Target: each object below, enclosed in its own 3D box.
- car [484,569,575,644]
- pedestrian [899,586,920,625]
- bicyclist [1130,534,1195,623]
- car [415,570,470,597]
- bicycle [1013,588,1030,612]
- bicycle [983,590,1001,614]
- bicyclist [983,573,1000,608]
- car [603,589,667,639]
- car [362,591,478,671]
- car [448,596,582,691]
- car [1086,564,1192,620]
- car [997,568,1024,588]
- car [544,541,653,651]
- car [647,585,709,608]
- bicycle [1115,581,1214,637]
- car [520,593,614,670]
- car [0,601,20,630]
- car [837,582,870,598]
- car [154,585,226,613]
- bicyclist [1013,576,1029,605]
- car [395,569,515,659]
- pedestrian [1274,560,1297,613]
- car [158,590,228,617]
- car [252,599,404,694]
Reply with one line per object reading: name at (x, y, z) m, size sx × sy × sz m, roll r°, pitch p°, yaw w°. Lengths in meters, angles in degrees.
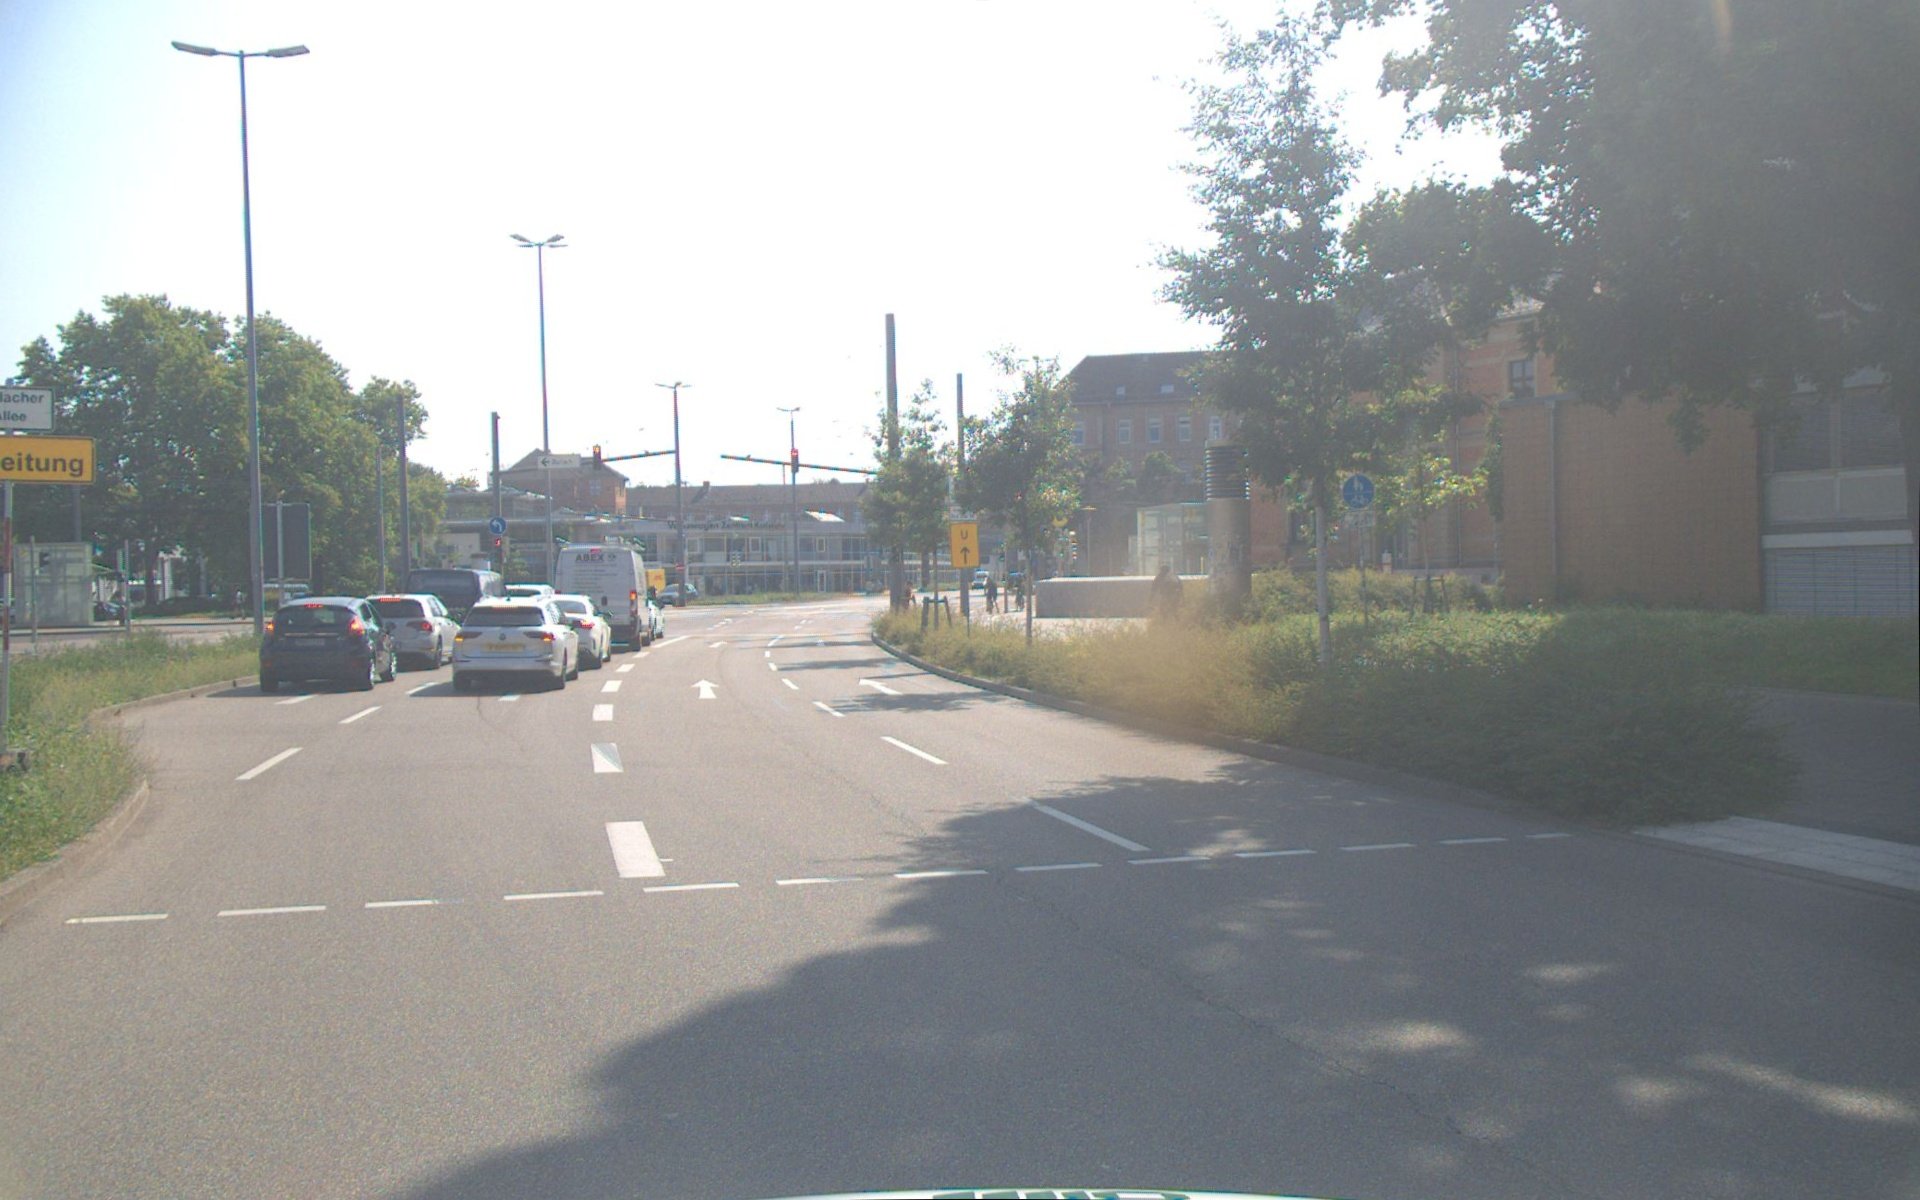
car at (-12.555, 0.171, 48.470) m, size 1.985 × 2.043 × 4.676 m, roll -1°, pitch 0°, yaw -7°
pedestrian at (-1.818, 0.181, 59.597) m, size 0.625 × 1.385 × 0.632 m, roll -1°, pitch 0°, yaw -12°
bicyclist at (3.763, -0.402, 30.778) m, size 0.763 × 1.606 × 0.982 m, roll -2°, pitch 1°, yaw -27°
car at (-41.733, -1.321, 133.442) m, size 3.916 × 2.048 × 1.995 m, roll -1°, pitch 3°, yaw -11°
bicycle at (2.989, -0.005, 80.593) m, size 0.691 × 1.080 × 1.983 m, roll -1°, pitch 1°, yaw 5°
bicycle at (1.452, 0.087, 75.138) m, size 0.691 × 1.080 × 1.983 m, roll -1°, pitch 1°, yaw 5°
bicyclist at (1.430, -0.449, 75.148) m, size 0.697 × 1.556 × 0.807 m, roll -1°, pitch 0°, yaw 5°
car at (-9.805, 0.392, 50.083) m, size 1.606 × 1.428 × 3.682 m, roll -1°, pitch 0°, yaw -7°
car at (-10.811, 0.575, 33.303) m, size 1.460 × 1.439 × 3.643 m, roll -1°, pitch 1°, yaw -6°
car at (-7.173, 0.669, 26.960) m, size 1.653 × 1.412 × 3.627 m, roll -1°, pitch 0°, yaw -8°
car at (7.178, -0.357, 66.207) m, size 3.942 × 2.048 × 1.738 m, roll -2°, pitch 3°, yaw -28°
car at (5.482, -2.433, 179.665) m, size 2.361 × 2.048 × 4.783 m, roll -1°, pitch 1°, yaw 8°
car at (-9.089, -0.095, 41.925) m, size 2.146 × 2.594 × 4.677 m, roll -1°, pitch 0°, yaw -6°
car at (-18.759, -0.228, 109.862) m, size 3.899 × 1.365 × 1.923 m, roll -2°, pitch 1°, yaw -14°
bicycle at (3.779, 0.156, 30.781) m, size 0.763 × 0.993 × 2.131 m, roll -2°, pitch 1°, yaw -27°
car at (-7.846, 0.600, 33.266) m, size 1.461 × 1.427 × 3.935 m, roll -1°, pitch 0°, yaw -8°
car at (-56.464, 0.926, 95.095) m, size 3.930 × 1.584 × 1.858 m, roll -2°, pitch 3°, yaw -21°
car at (-10.181, -0.963, 157.803) m, size 1.951 × 1.467 × 4.003 m, roll -1°, pitch 1°, yaw 15°
car at (-49.505, -0.054, 106.441) m, size 3.926 × 1.646 × 1.804 m, roll -2°, pitch 1°, yaw -18°
bicyclist at (2.979, -0.465, 80.610) m, size 0.691 × 1.418 × 0.830 m, roll -1°, pitch 0°, yaw 5°
car at (-12.212, 0.305, 40.294) m, size 1.985 × 2.043 × 4.676 m, roll -1°, pitch 0°, yaw -7°
pedestrian at (10.408, -0.436, 52.915) m, size 0.602 × 1.657 × 0.533 m, roll -1°, pitch 0°, yaw -2°
car at (-50.448, 0.219, 108.787) m, size 3.926 × 1.646 × 1.804 m, roll -2°, pitch 1°, yaw -18°
car at (-10.242, 0.705, 27.060) m, size 1.671 × 1.392 × 3.952 m, roll -1°, pitch 0°, yaw -12°
